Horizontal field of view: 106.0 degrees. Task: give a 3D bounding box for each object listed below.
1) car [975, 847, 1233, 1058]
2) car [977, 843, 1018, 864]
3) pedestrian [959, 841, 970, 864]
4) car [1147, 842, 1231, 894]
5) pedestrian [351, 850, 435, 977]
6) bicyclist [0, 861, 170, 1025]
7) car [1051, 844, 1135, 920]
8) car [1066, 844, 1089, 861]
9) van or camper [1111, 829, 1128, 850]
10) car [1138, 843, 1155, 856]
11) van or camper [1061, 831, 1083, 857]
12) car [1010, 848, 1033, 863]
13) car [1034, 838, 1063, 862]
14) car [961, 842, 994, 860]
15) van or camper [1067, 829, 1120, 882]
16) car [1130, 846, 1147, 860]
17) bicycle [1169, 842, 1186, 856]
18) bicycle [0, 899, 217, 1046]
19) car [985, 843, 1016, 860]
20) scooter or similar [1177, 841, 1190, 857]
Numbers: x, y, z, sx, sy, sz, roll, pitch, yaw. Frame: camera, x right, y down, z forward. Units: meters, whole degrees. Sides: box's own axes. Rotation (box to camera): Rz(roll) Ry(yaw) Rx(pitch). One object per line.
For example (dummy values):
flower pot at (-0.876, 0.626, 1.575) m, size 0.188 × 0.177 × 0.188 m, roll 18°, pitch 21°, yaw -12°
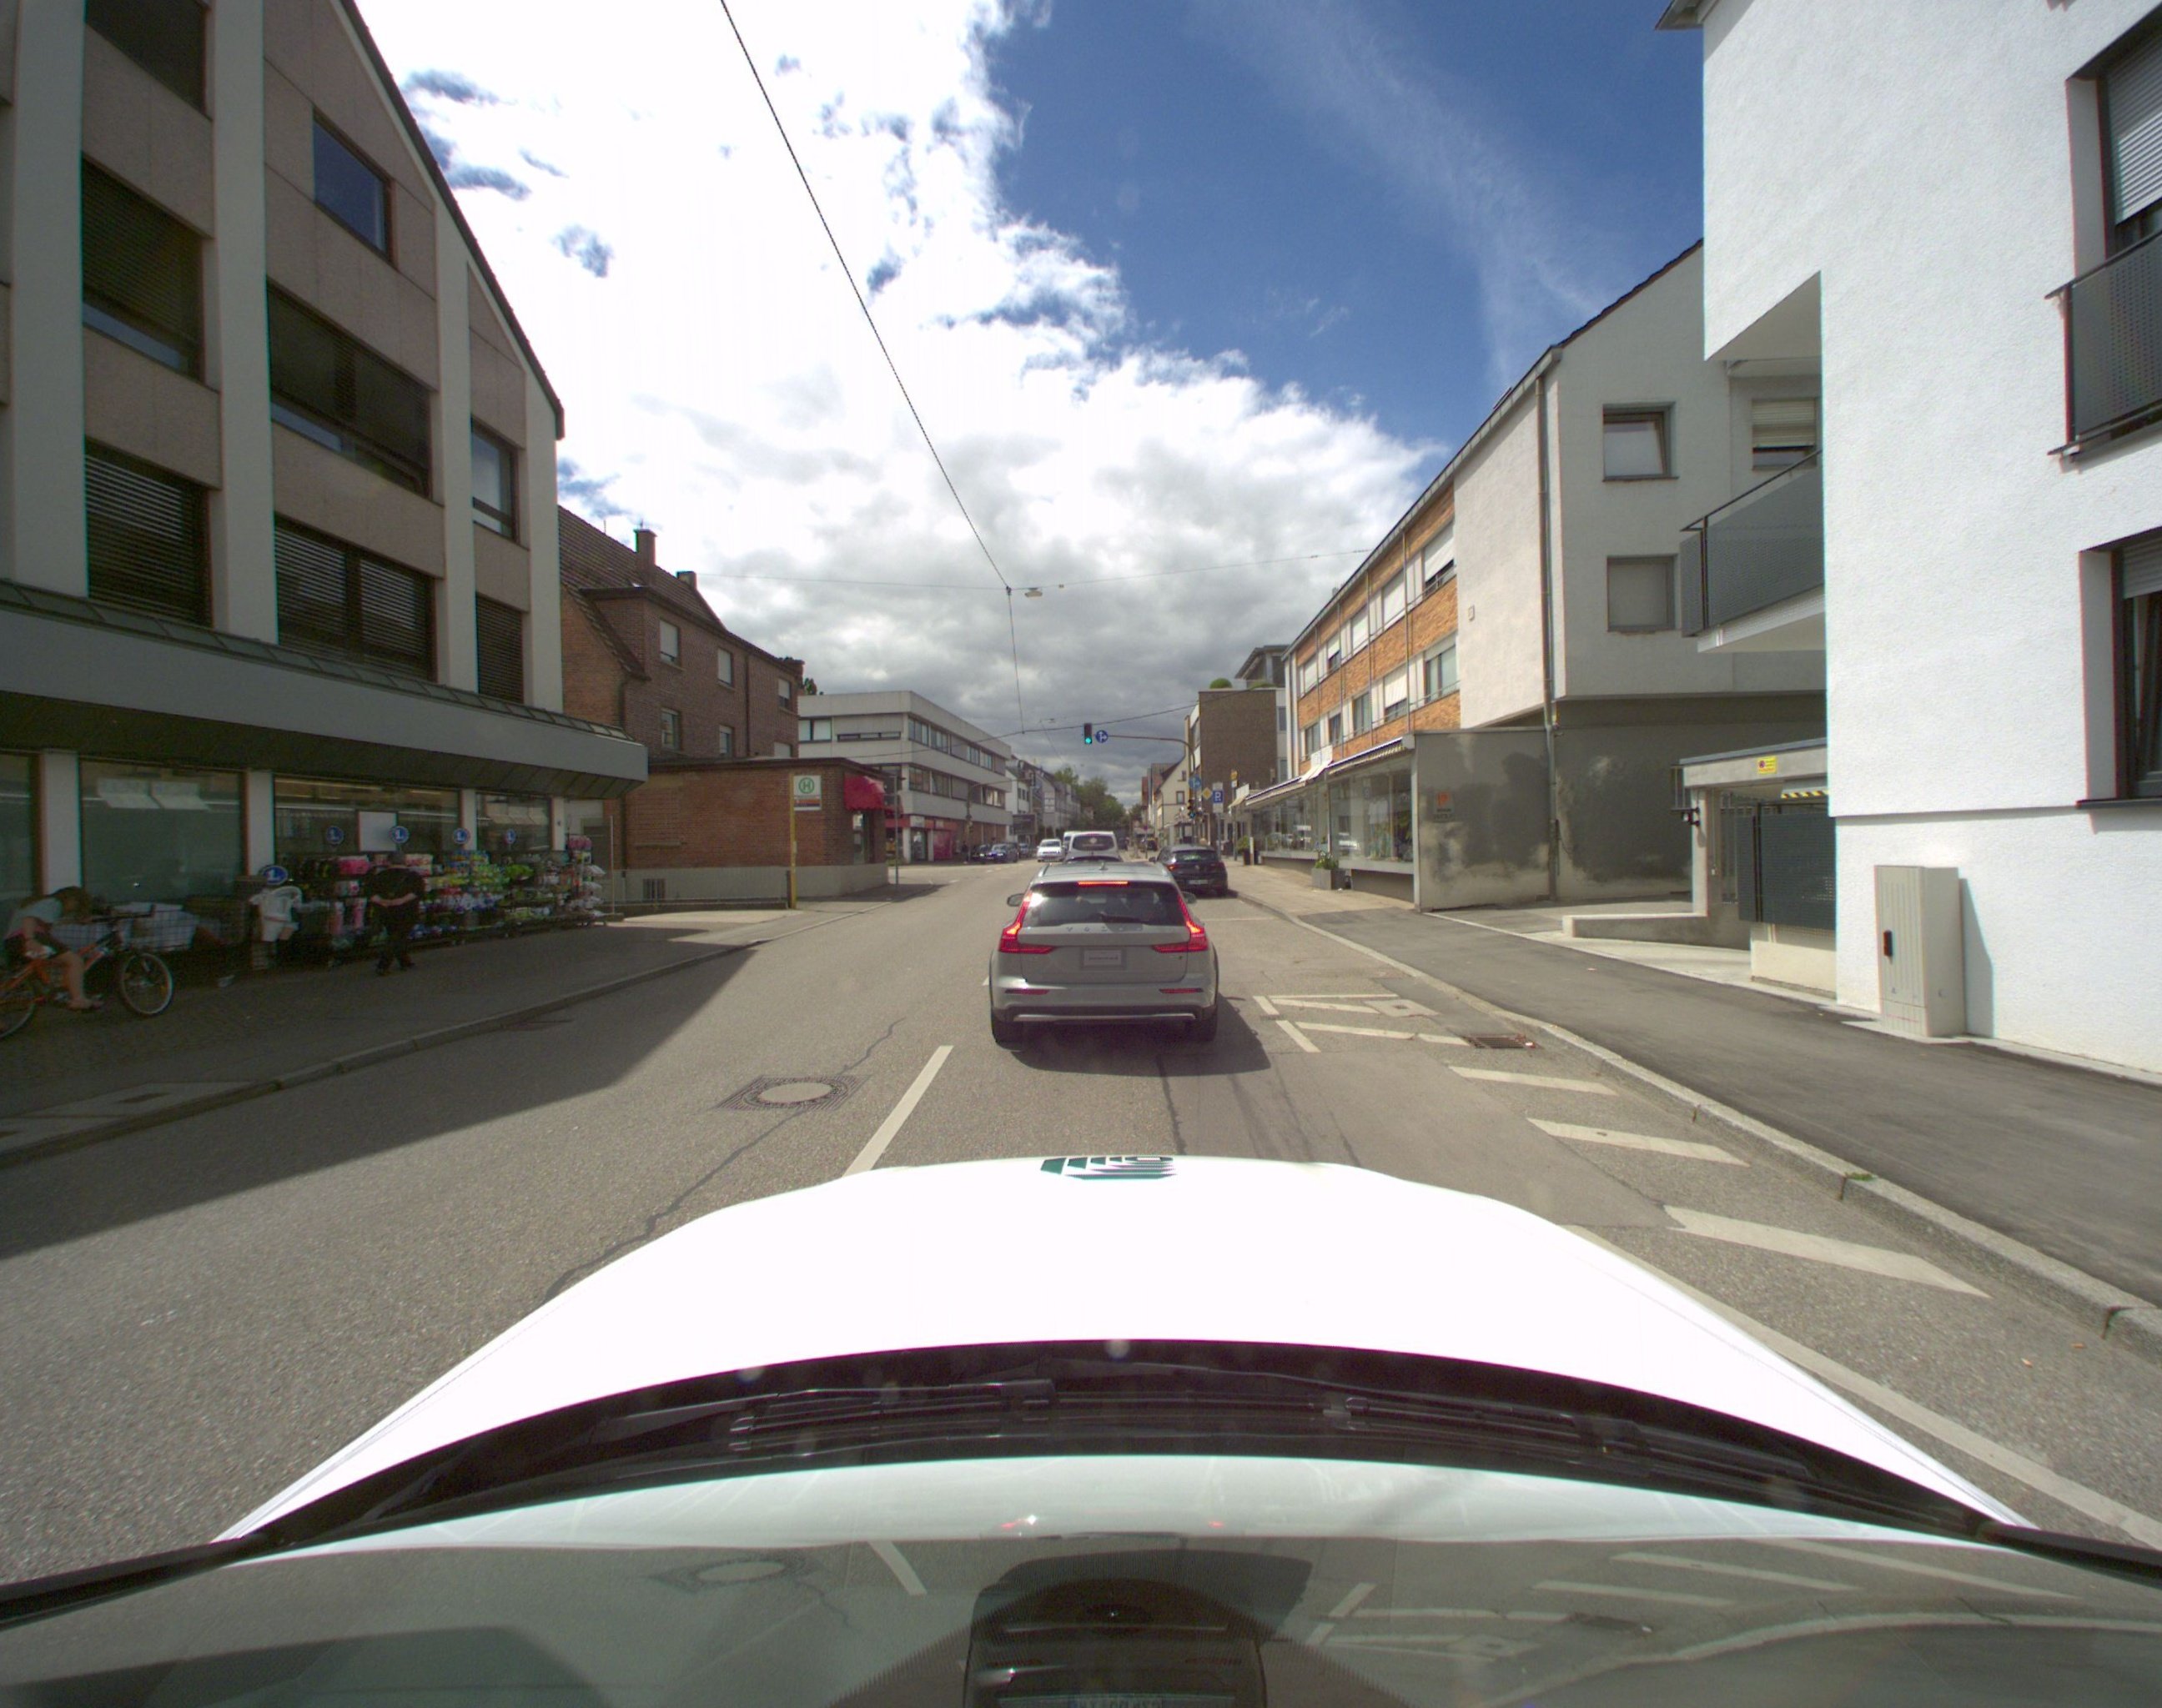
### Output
car at (0.227, 0.715, 7.867) m, size 1.829 × 1.486 × 4.001 m, roll -1°, pitch 0°, yaw 2°
car at (-5.976, -0.072, 58.844) m, size 1.983 × 1.337 × 4.366 m, roll -2°, pitch 1°, yaw 7°
pedestrian at (-8.533, -0.098, 59.735) m, size 0.616 × 1.641 × 0.661 m, roll -2°, pitch 1°, yaw 3°
car at (3.012, 0.378, 23.409) m, size 1.803 × 1.346 × 3.715 m, roll -1°, pitch 0°, yaw -2°
pedestrian at (-8.789, 0.738, 10.432) m, size 0.776 × 1.558 × 0.567 m, roll 1°, pitch -2°, yaw -39°
bicyclist at (-8.863, 0.749, 7.216) m, size 0.664 × 1.337 × 0.762 m, roll 3°, pitch 0°, yaw 1°
car at (0.290, 0.535, 17.816) m, size 1.644 × 1.482 × 3.609 m, roll -1°, pitch 0°, yaw 2°
car at (-0.308, -0.109, 74.707) m, size 1.782 × 1.511 × 3.850 m, roll -1°, pitch 0°, yaw 5°
van or camper at (5.105, -1.943, 107.438) m, size 2.114 × 2.686 × 4.785 m, roll -2°, pitch 1°, yaw 3°
car at (7.653, -0.509, 95.519) m, size 1.705 × 1.464 × 3.999 m, roll -1°, pitch -1°, yaw 0°
van or camper at (-0.911, -1.136, 85.778) m, size 2.141 × 2.556 × 5.438 m, roll -2°, pitch 2°, yaw 0°
car at (-6.150, 0.133, 84.522) m, size 1.747 × 1.426 × 3.867 m, roll -1°, pitch 0°, yaw 5°
car at (-2.311, -0.324, 59.194) m, size 1.768 × 1.612 × 4.122 m, roll -3°, pitch 1°, yaw 2°
car at (-8.472, -0.251, 66.861) m, size 1.776 × 1.464 × 4.094 m, roll 0°, pitch 1°, yaw 6°
van or camper at (0.508, -0.004, 30.719) m, size 1.812 × 1.834 × 4.003 m, roll -1°, pitch 2°, yaw 2°
car at (5.273, -0.087, 75.185) m, size 1.433 × 1.287 × 3.249 m, roll -1°, pitch 0°, yaw 2°
bicycle at (8.354, -0.445, 70.471) m, size 0.555 × 1.144 × 2.288 m, roll -2°, pitch 1°, yaw -15°
bicycle at (-8.874, 0.999, 7.227) m, size 0.442 × 1.050 × 1.735 m, roll 5°, pitch 0°, yaw 2°
car at (-7.110, -0.279, 72.417) m, size 1.894 × 1.443 × 4.451 m, roll 0°, pitch 1°, yaw 6°
scooter or similar at (8.441, -0.421, 67.110) m, size 0.342 × 1.253 × 1.236 m, roll -4°, pitch 0°, yaw -24°
